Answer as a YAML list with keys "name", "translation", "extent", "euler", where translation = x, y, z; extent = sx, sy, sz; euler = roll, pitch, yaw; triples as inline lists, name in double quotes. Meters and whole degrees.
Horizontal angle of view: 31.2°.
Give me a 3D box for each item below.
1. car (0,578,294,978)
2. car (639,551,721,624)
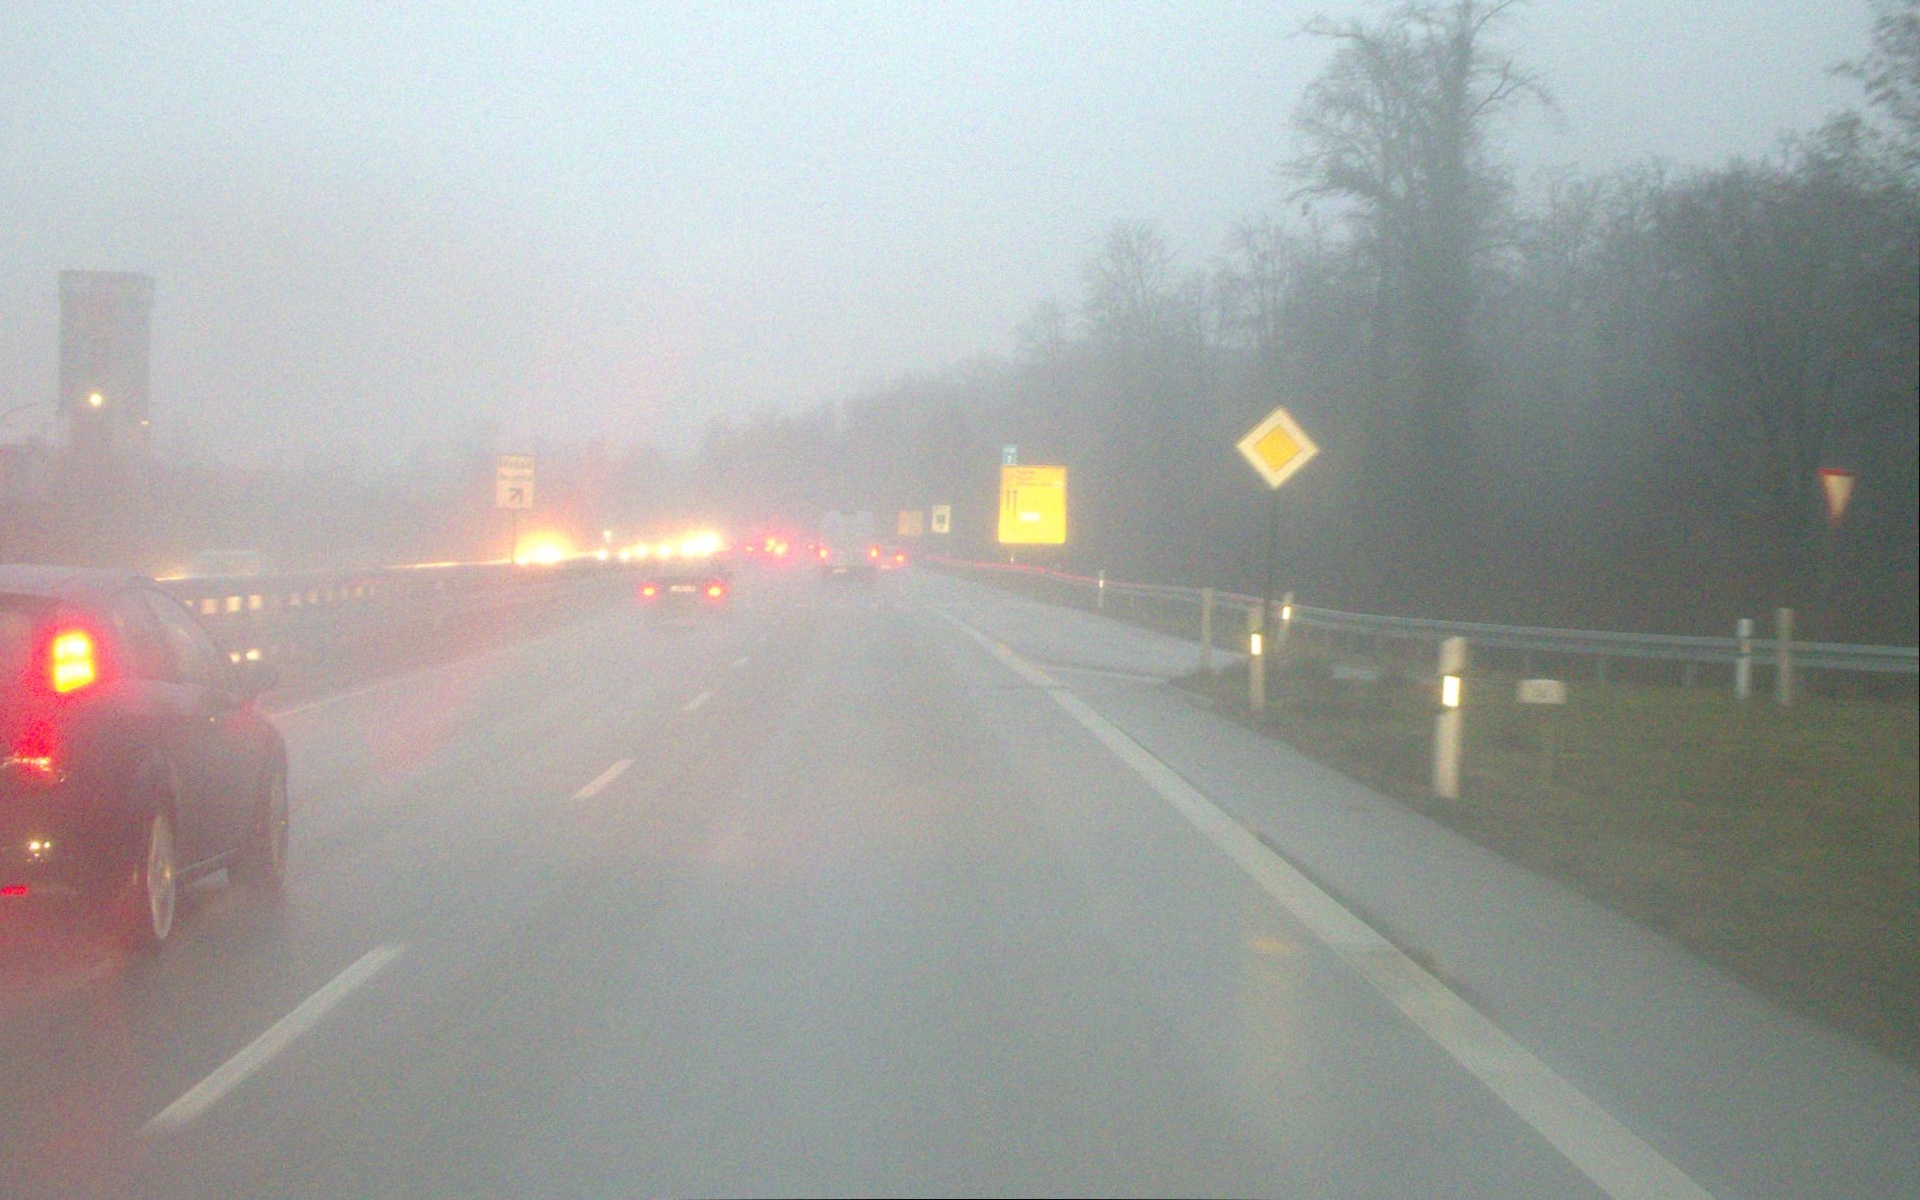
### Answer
- name: "car"
  translation: [-3.897, 0.626, 14.387]
  extent: [1.625, 1.387, 4.001]
  euler: [2, 1, -3]
- name: "car"
  translation: [-5.378, -0.250, 66.303]
  extent: [1.416, 1.312, 3.083]
  euler: [2, 1, -2]
